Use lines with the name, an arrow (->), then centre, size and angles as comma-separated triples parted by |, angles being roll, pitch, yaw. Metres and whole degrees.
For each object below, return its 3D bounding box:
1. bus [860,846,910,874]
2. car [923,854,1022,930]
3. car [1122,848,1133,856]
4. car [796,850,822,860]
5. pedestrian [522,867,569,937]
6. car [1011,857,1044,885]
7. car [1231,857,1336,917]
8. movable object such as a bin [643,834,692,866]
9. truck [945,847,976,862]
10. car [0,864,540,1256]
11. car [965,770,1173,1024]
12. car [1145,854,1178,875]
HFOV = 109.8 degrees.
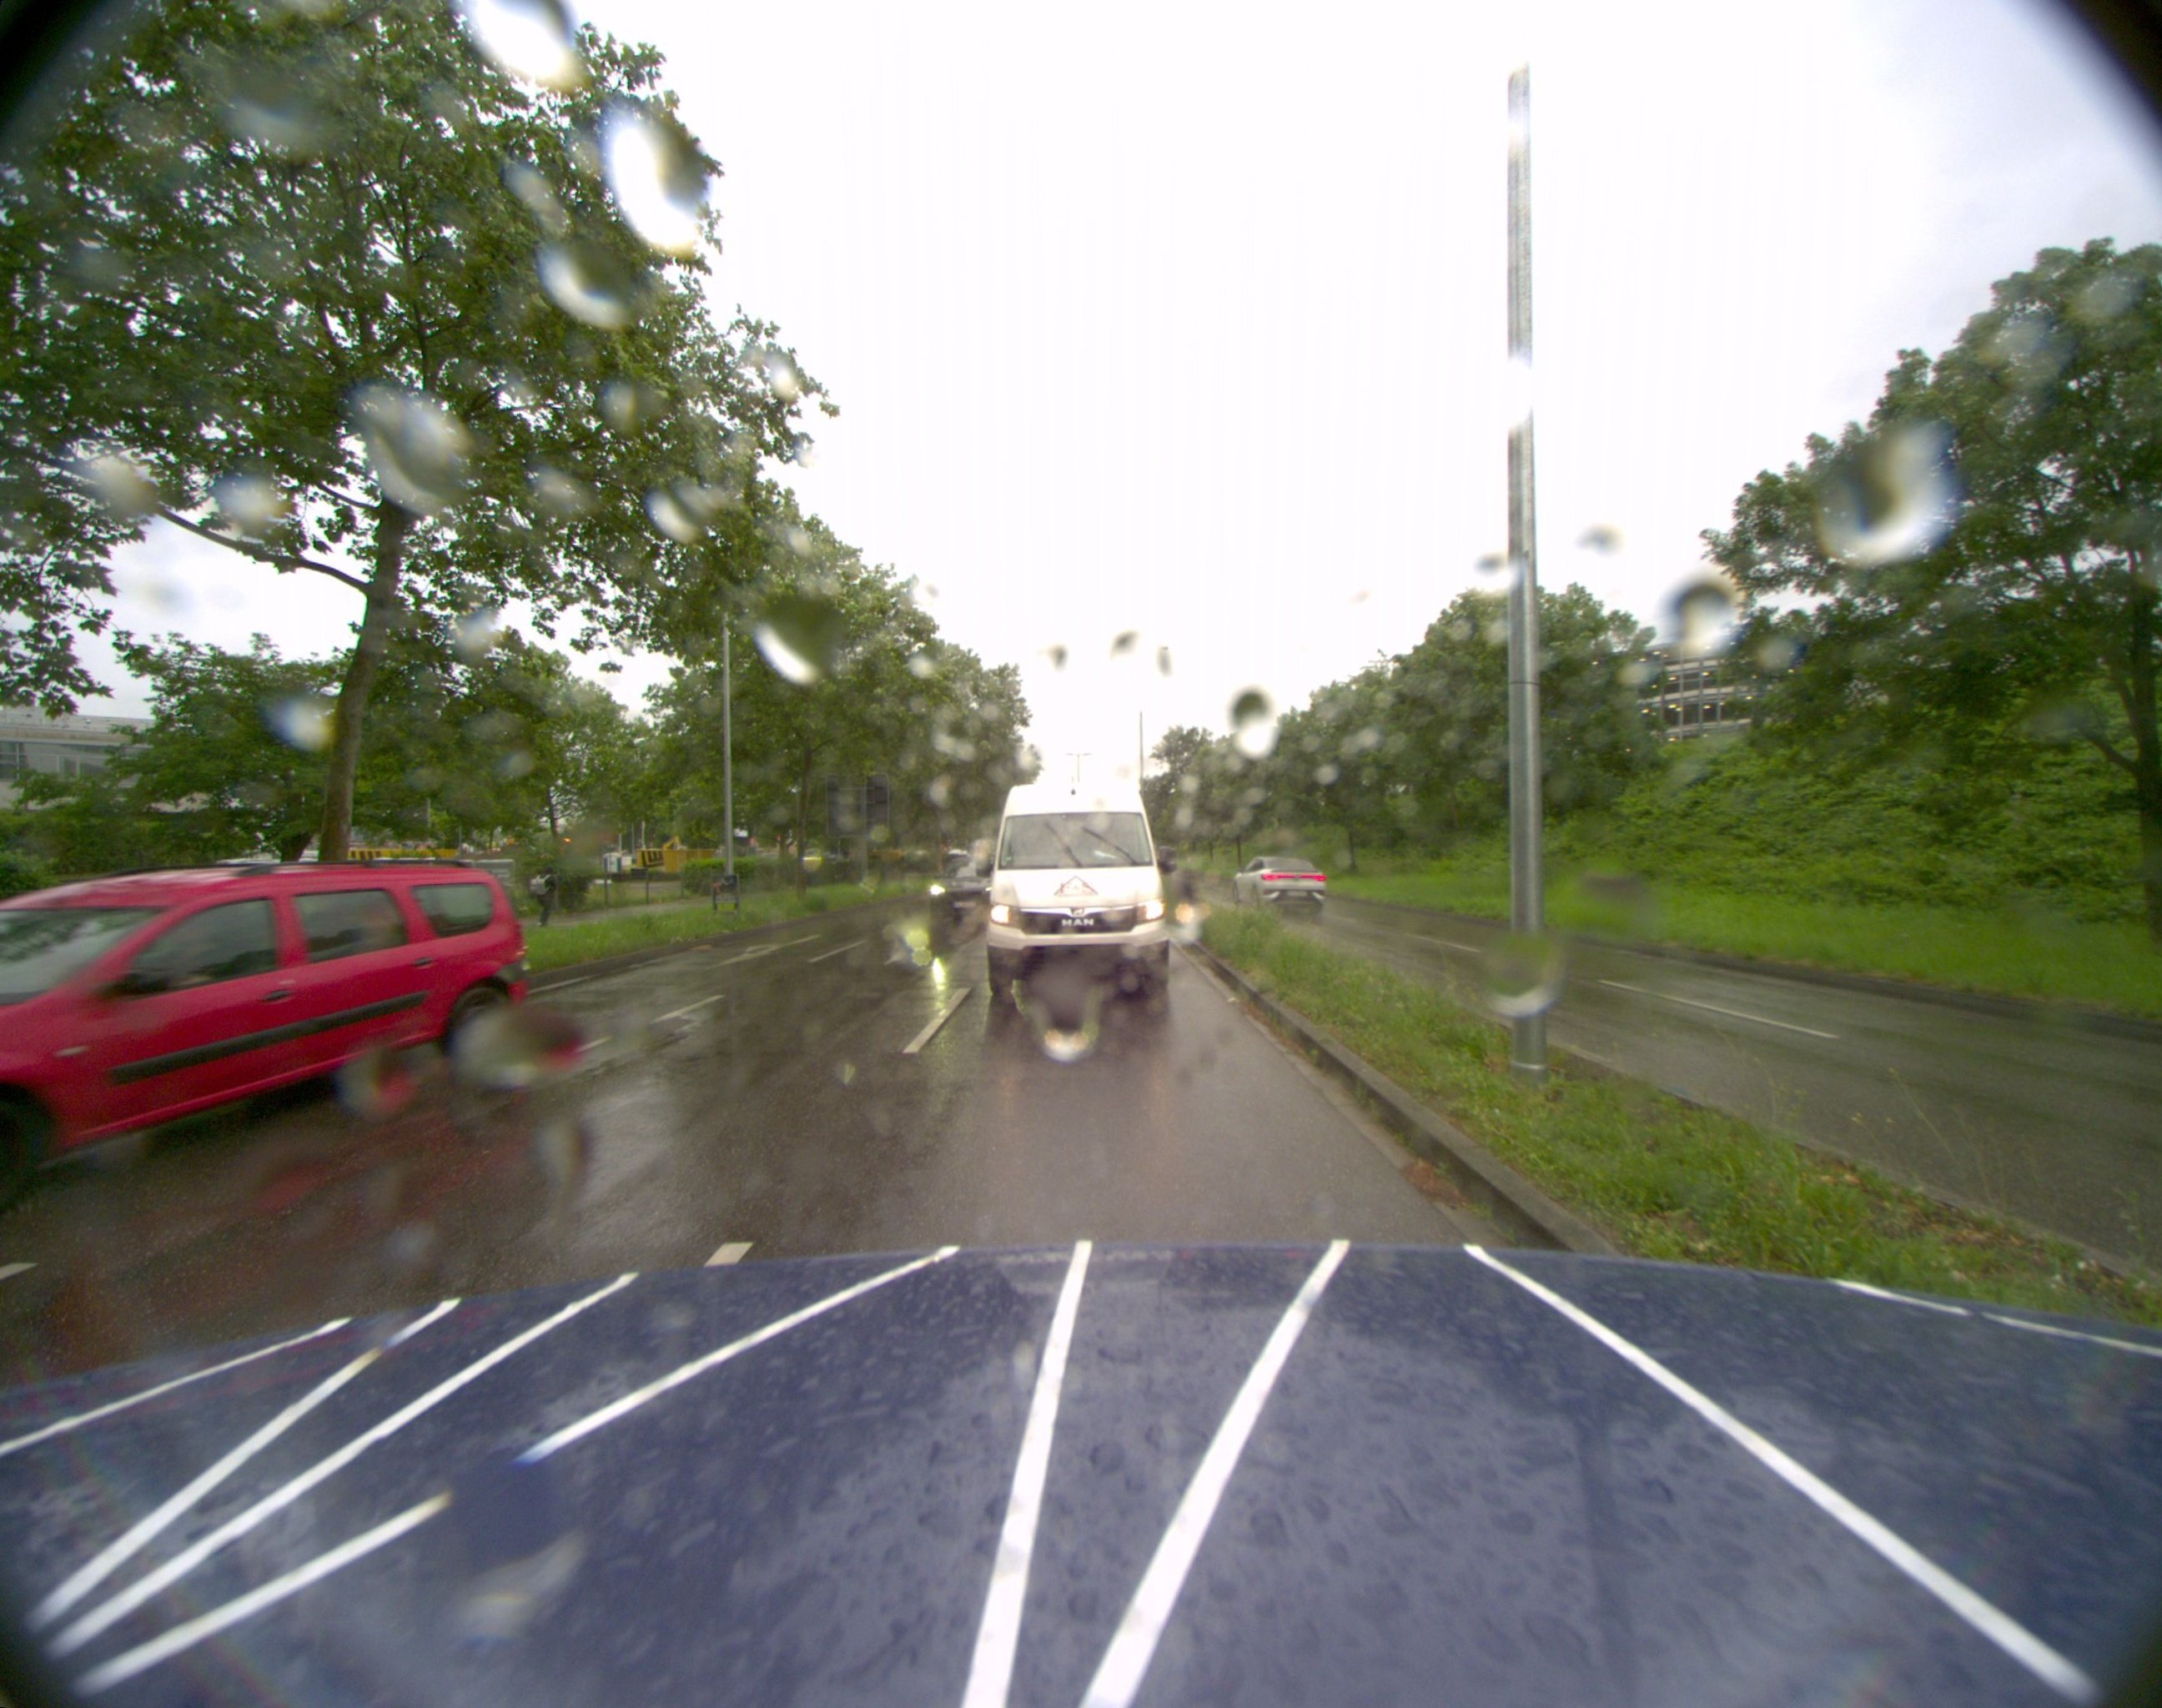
bus -> -19.144, 0.562, 74.390 | 4.370, 2.553, 1.711 | -2, 1, 0
car -> -2.644, 0.875, 19.556 | 1.894, 1.688, 4.423 | -1, 0, 0
car -> 9.163, -0.359, 149.364 | 1.959, 1.510, 4.254 | 1, 0, 0
car -> -36.779, 0.125, 102.854 | 3.154, 1.321, 1.427 | -3, 1, -26
pedestrian -> -13.591, 1.202, 19.302 | 0.646, 1.707, 0.656 | -2, 1, 1
car -> -2.962, 0.916, 42.580 | 1.573, 1.454, 3.389 | -2, 0, 0
car -> 5.698, 0.878, 21.990 | 1.891, 1.510, 4.301 | 1, 0, 0
movable object such as a bin -> -47.871, -0.461, 87.998 | 4.928, 3.415, 1.920 | -2, 1, 16
truck -> -20.992, 0.078, 132.618 | 5.061, 2.363, 1.792 | -3, 1, -30
car -> -5.797, 0.998, 4.720 | 1.715, 1.684, 4.271 | -2, 1, 0
car -> -0.166, 0.419, 10.424 | 2.027, 2.498, 5.695 | -1, 0, -1
car -> 6.059, 0.779, 57.477 | 1.959, 1.510, 4.254 | 1, 0, 0
